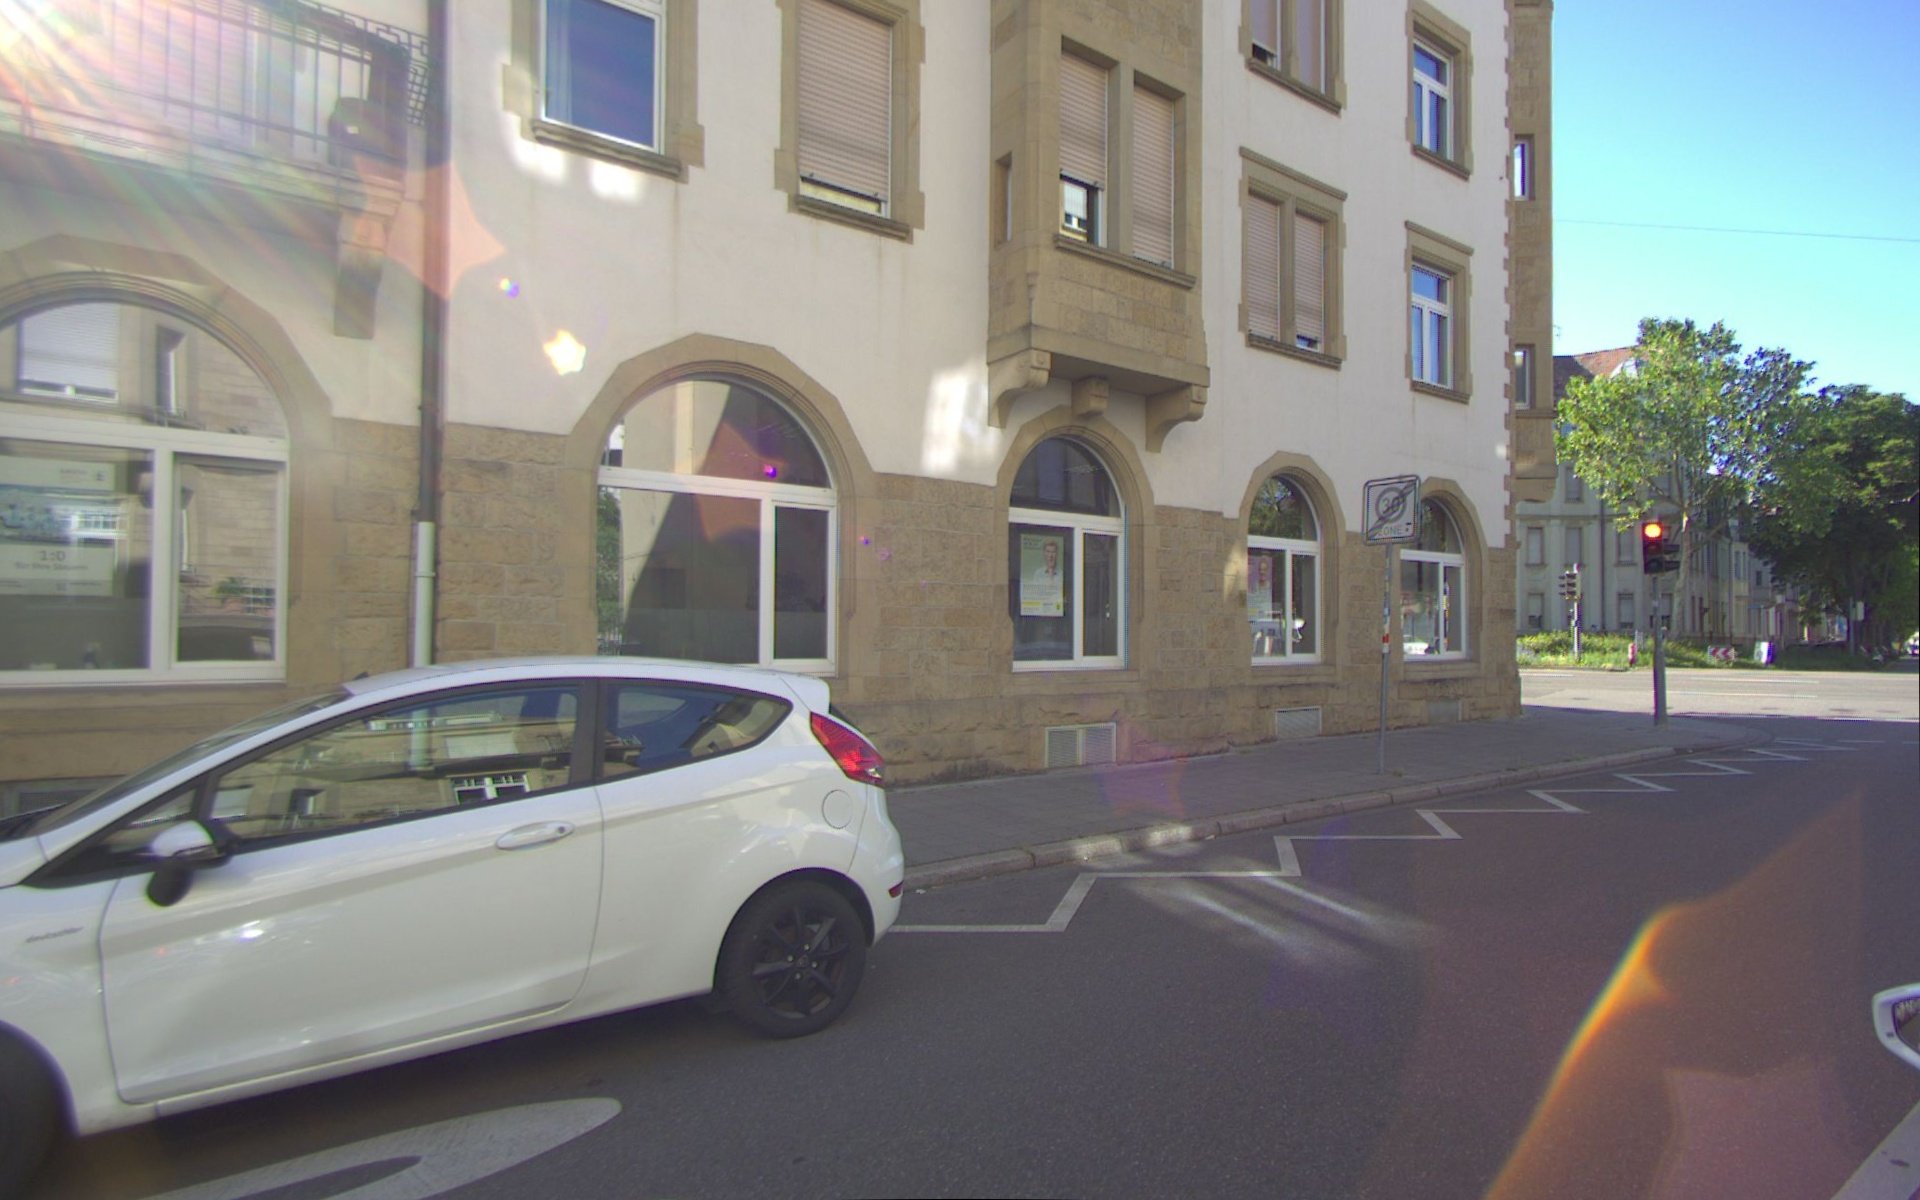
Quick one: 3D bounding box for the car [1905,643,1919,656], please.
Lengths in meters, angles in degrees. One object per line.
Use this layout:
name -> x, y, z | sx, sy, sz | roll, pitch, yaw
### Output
car -> 112.634, 5.867, 118.242 | 1.972, 1.465, 3.978 | -2, -2, 42

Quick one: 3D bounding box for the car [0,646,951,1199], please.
car -> -2.017, 0.944, 3.830 | 3.694, 1.483, 1.625 | 1, -2, -33

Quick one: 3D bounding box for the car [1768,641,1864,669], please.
car -> 47.387, 3.022, 55.711 | 3.938, 1.505, 1.675 | -2, -2, 39
